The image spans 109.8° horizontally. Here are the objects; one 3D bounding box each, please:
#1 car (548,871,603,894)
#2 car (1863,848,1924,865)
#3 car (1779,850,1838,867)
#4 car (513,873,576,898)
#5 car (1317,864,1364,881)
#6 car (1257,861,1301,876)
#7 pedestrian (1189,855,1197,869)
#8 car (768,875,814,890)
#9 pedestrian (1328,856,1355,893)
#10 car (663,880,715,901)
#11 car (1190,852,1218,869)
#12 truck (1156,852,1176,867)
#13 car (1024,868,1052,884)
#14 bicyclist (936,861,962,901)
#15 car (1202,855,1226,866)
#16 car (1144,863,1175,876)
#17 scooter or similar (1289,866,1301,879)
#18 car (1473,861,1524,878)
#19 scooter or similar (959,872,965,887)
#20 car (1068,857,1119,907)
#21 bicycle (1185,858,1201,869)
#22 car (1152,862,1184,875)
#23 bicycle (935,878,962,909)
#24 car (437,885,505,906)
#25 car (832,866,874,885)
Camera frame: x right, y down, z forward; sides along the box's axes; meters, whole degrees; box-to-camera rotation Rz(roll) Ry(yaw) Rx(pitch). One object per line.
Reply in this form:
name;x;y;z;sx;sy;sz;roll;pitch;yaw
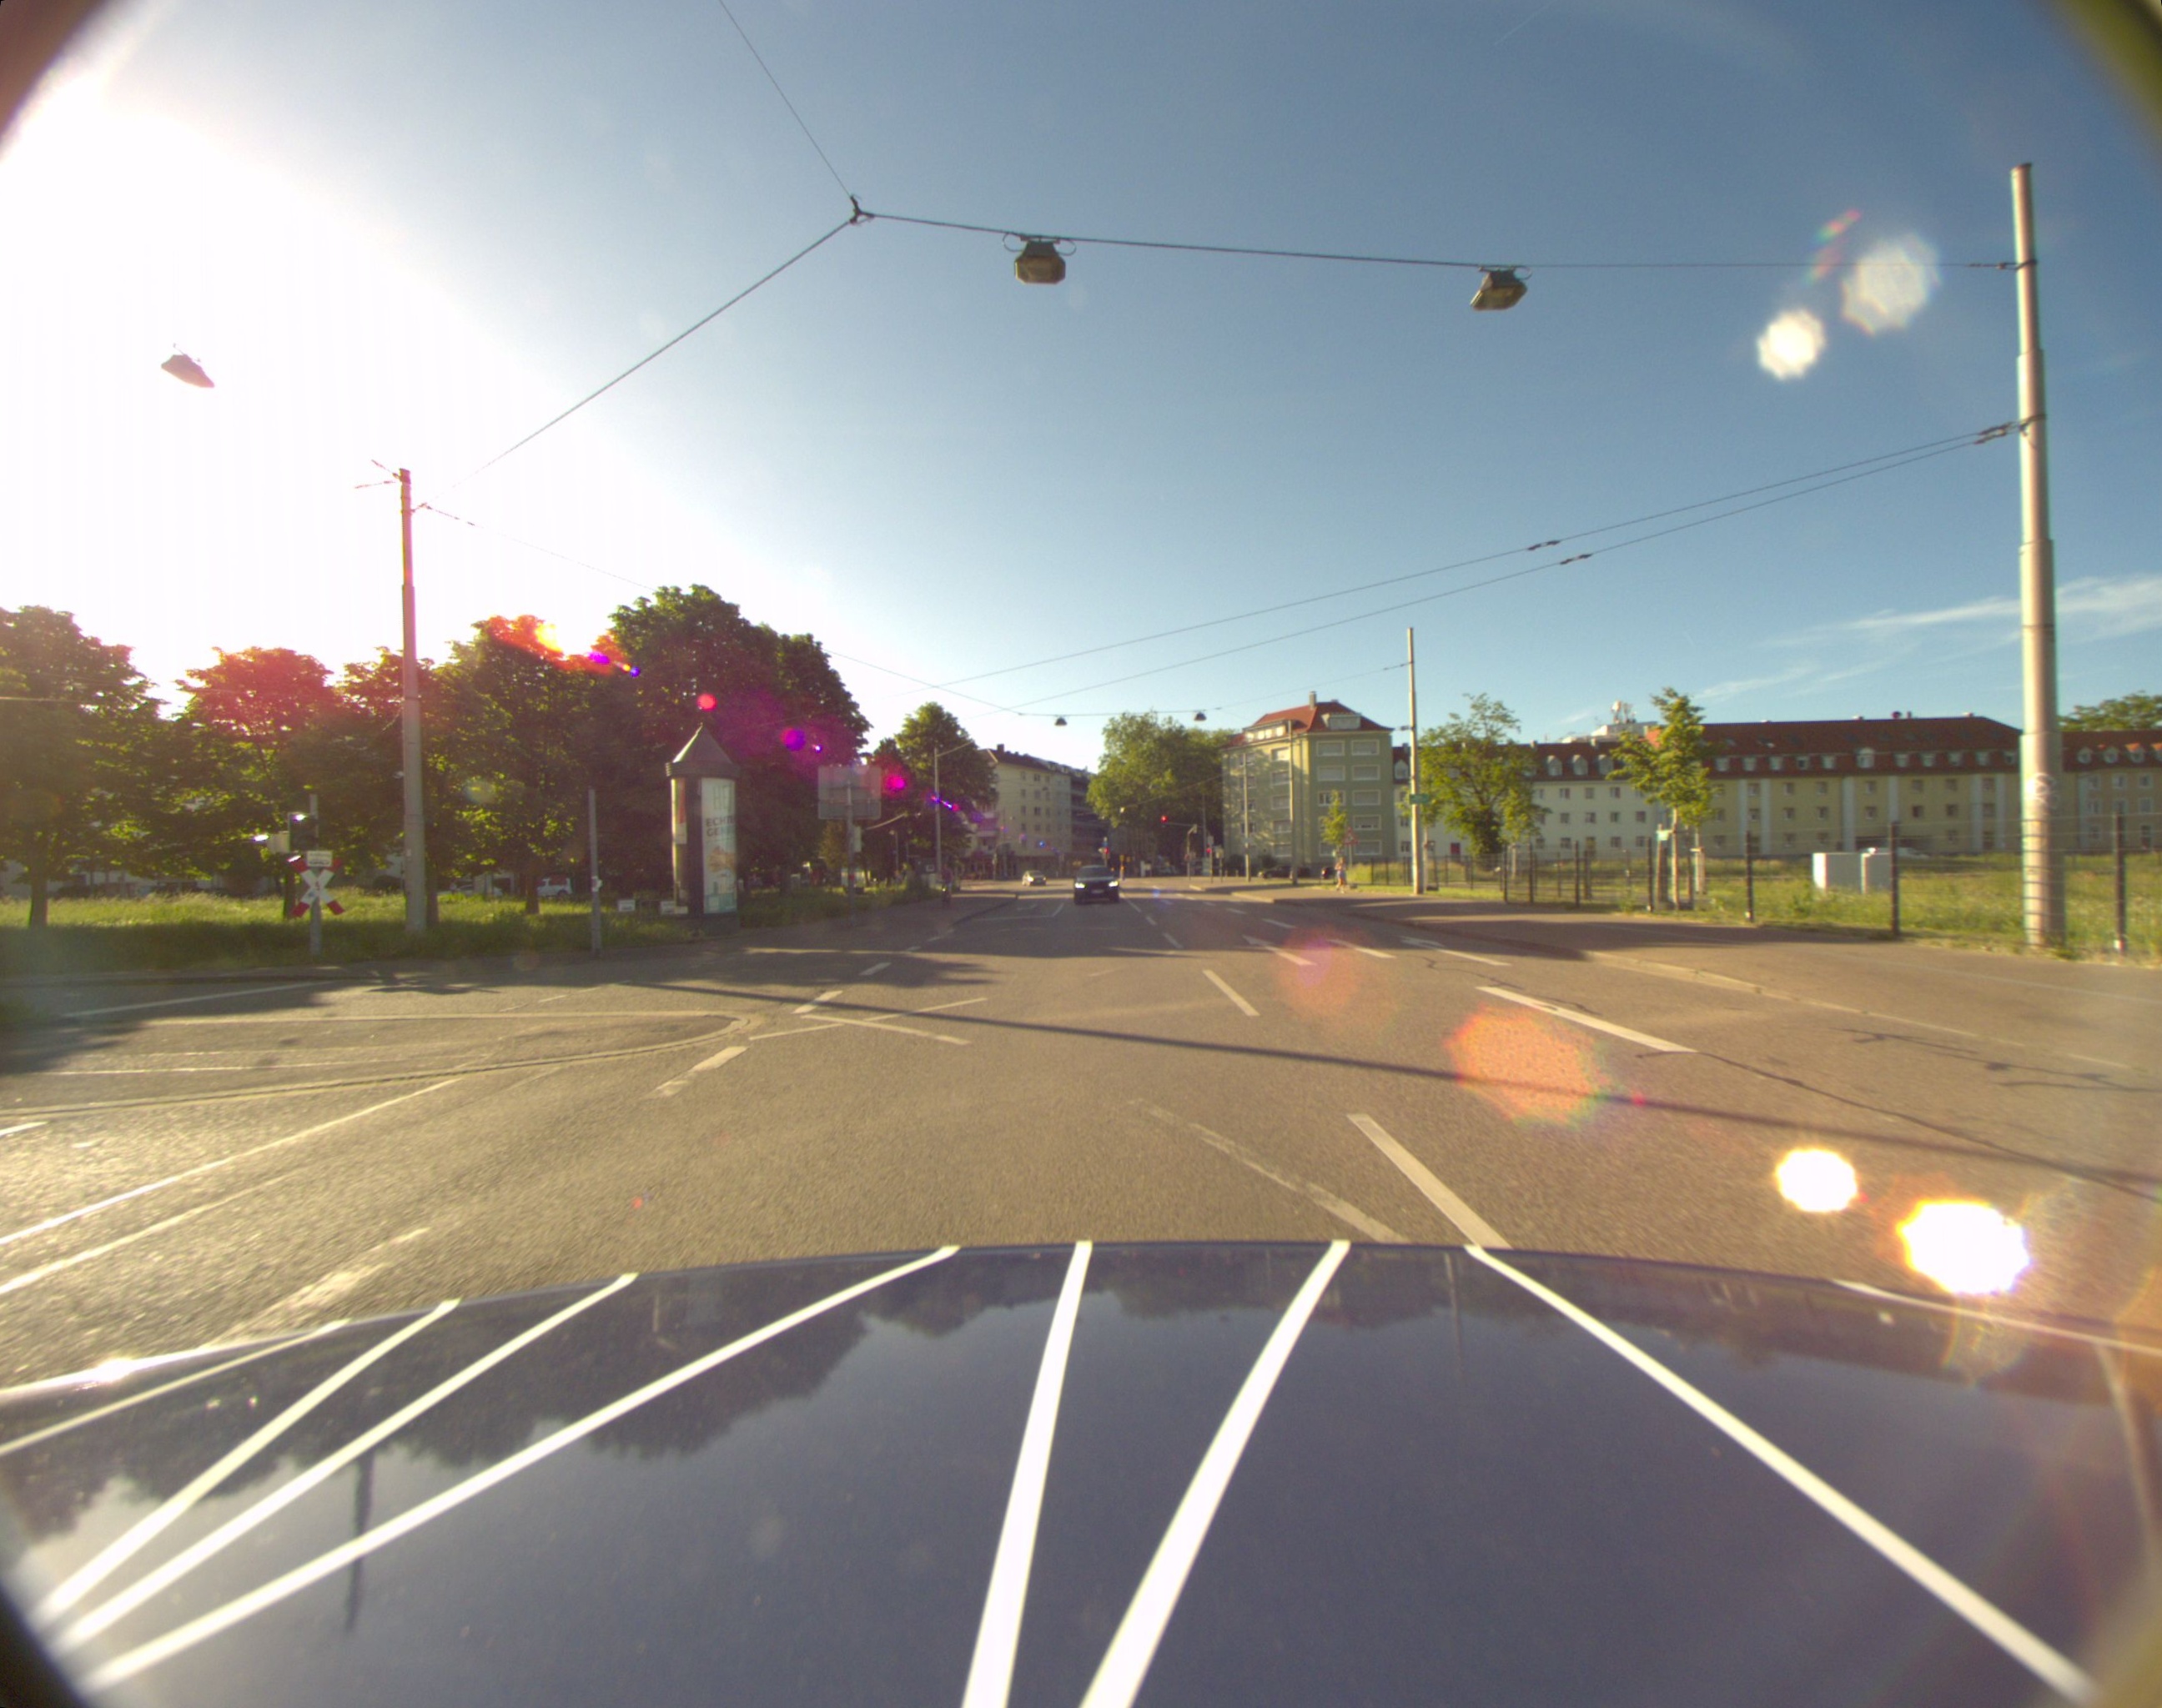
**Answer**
car;-50.915;2.863;76.533;4.194;1.908;1.995;-4;1;-45
car;77.399;0.254;72.412;3.900;1.520;1.701;-1;-4;-2
car;69.498;0.446;72.607;3.900;1.520;1.701;-1;-4;-2
car;-49.152;2.845;69.649;4.340;1.953;1.905;-4;1;-44
car;25.070;1.780;73.400;3.900;1.520;1.701;-1;-4;-2
car;21.075;1.568;80.839;4.204;1.484;1.943;-1;-2;2
pedestrian;15.287;1.100;103.882;0.695;1.952;0.929;-3;1;31
car;-31.918;3.173;83.773;4.194;1.340;1.995;-4;1;-45
pedestrian;11.949;0.933;34.912;0.834;1.619;1.181;-3;0;4
car;-39.893;3.698;77.306;4.194;1.707;1.995;-4;1;-45
car;21.402;1.128;132.204;4.412;2.612;1.972;-3;1;22
truck;18.736;1.167;167.541;2.339;2.955;8.041;-3;1;20
car;-4.214;2.107;73.365;1.704;1.432;3.641;-2;-1;-19
bicyclist;-5.403;1.101;31.107;0.813;1.590;1.149;-1;0;1
car;24.632;1.226;140.637;3.992;1.827;1.818;-3;1;22
car;11.277;2.198;109.146;4.140;1.631;1.777;-3;1;22
scooter or similar;19.402;1.689;68.855;0.594;1.137;1.270;-1;-5;42
car;40.227;1.532;73.271;3.900;1.520;1.701;-1;-4;-2
scooter or similar;-9.885;2.163;63.258;0.385;1.210;1.832;1;-2;-11
car;0.499;1.192;33.967;1.941;1.922;4.522;-3;1;-2
bicycle;15.109;1.321;102.525;2.047;1.454;0.727;0;3;30
car;12.726;2.100;110.895;4.140;1.631;1.777;-3;1;22
bicycle;-5.387;1.583;30.986;0.720;1.185;2.001;-1;-1;1
car;-53.148;3.580;66.271;4.386;1.420;1.687;-4;1;-44
car;-26.547;2.524;88.542;4.257;1.846;1.995;-4;1;-45
